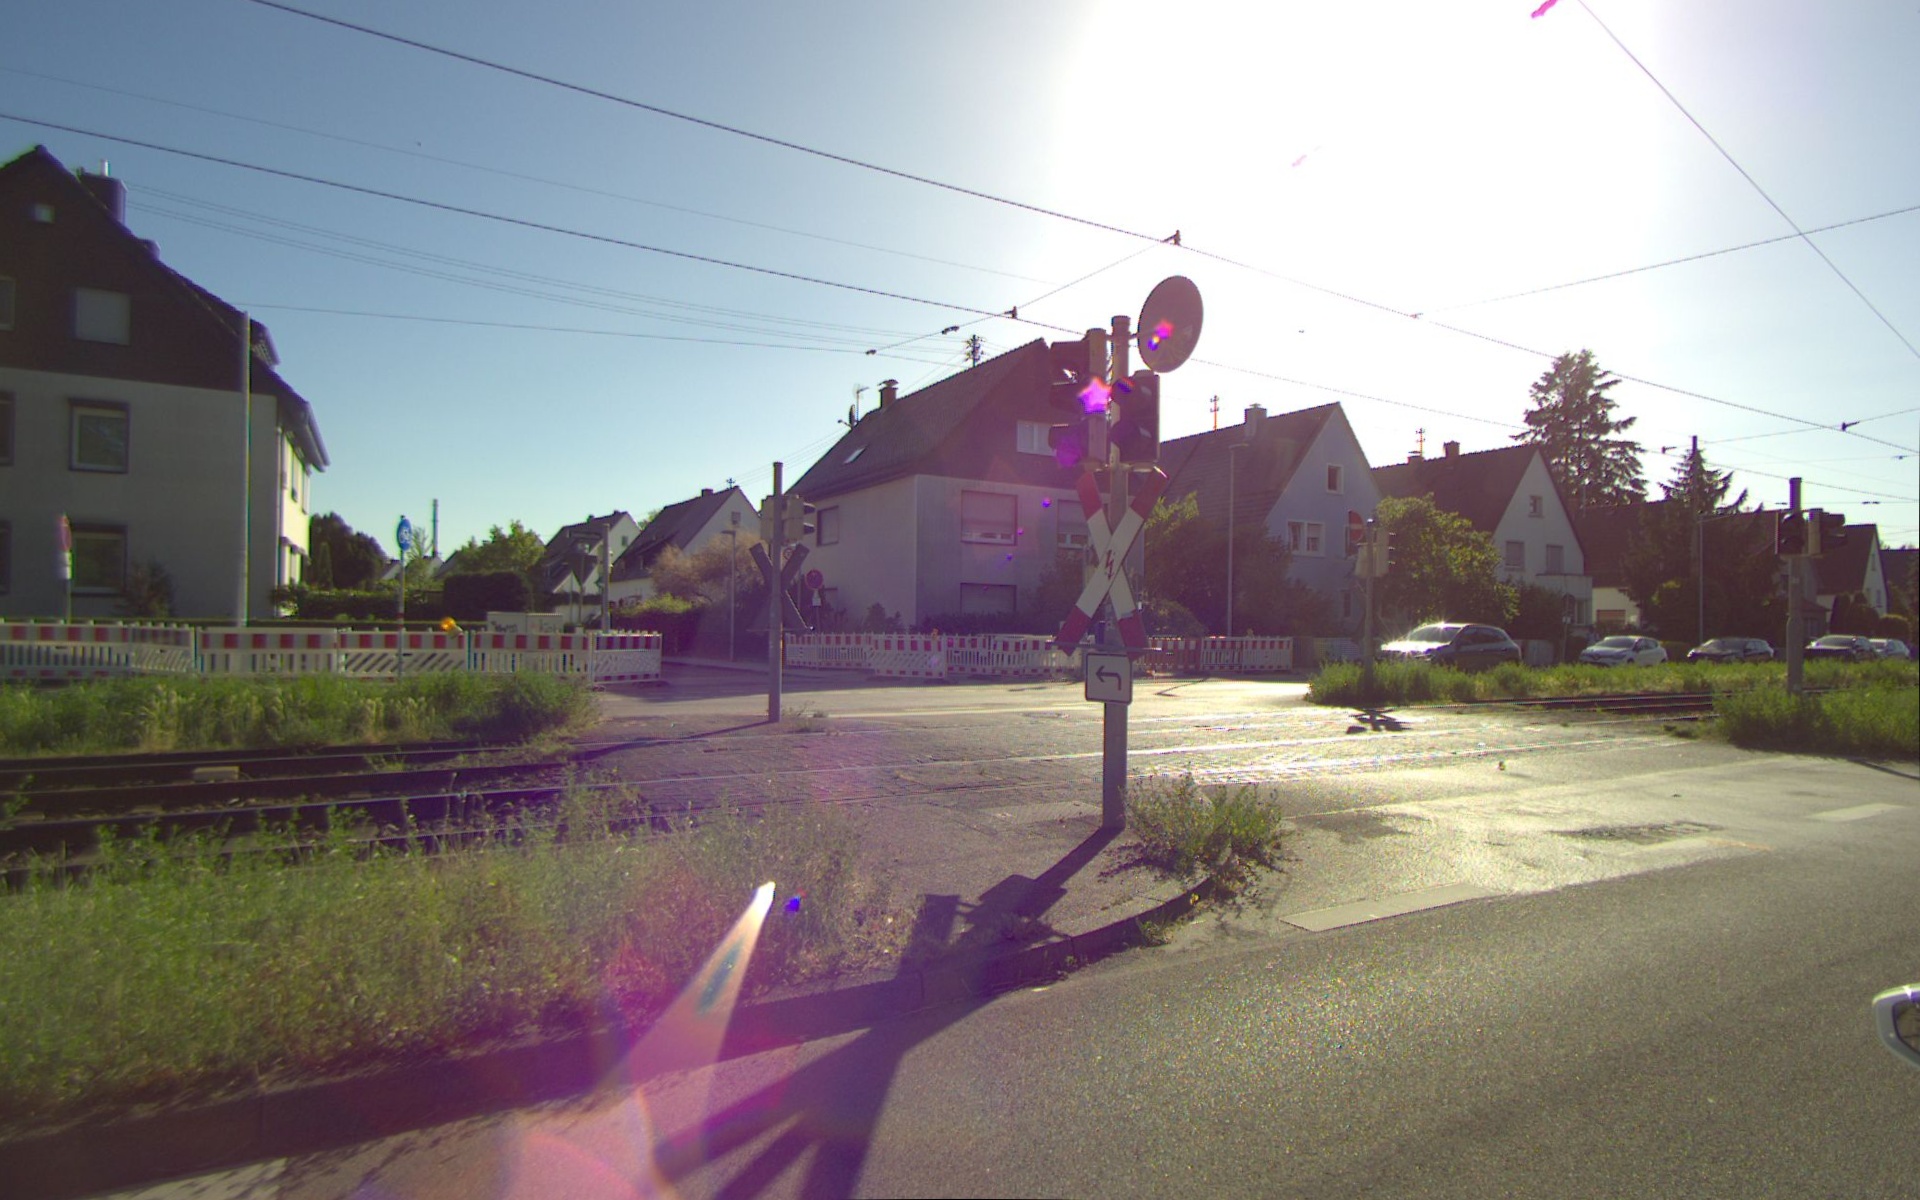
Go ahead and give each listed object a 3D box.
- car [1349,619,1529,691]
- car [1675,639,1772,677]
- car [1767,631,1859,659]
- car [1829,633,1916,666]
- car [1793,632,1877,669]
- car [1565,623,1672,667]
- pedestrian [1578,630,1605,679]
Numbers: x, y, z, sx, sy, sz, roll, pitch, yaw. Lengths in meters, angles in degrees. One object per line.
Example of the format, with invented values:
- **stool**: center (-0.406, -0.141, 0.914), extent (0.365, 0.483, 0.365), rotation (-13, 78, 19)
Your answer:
- **car**: center (12.167, 1.379, 25.478), extent (4.422, 1.625, 1.984), rotation (2, 0, -31)
- **car**: center (33.011, 2.499, 43.397), extent (4.549, 1.485, 1.720), rotation (2, 0, -31)
- **car**: center (51.950, 2.725, 61.224), extent (1.866, 1.472, 3.900), rotation (0, 1, -29)
- **car**: center (47.233, 2.575, 51.991), extent (4.724, 1.566, 1.984), rotation (2, 0, -30)
- **car**: center (42.753, 2.465, 49.047), extent (4.502, 1.672, 1.739), rotation (2, 0, -31)
- **car**: center (25.608, 1.740, 39.039), extent (4.179, 1.562, 1.851), rotation (2, 0, -31)
- **pedestrian**: center (26.829, 2.302, 42.669), extent (0.763, 2.040, 0.677), rotation (2, 0, -30)
